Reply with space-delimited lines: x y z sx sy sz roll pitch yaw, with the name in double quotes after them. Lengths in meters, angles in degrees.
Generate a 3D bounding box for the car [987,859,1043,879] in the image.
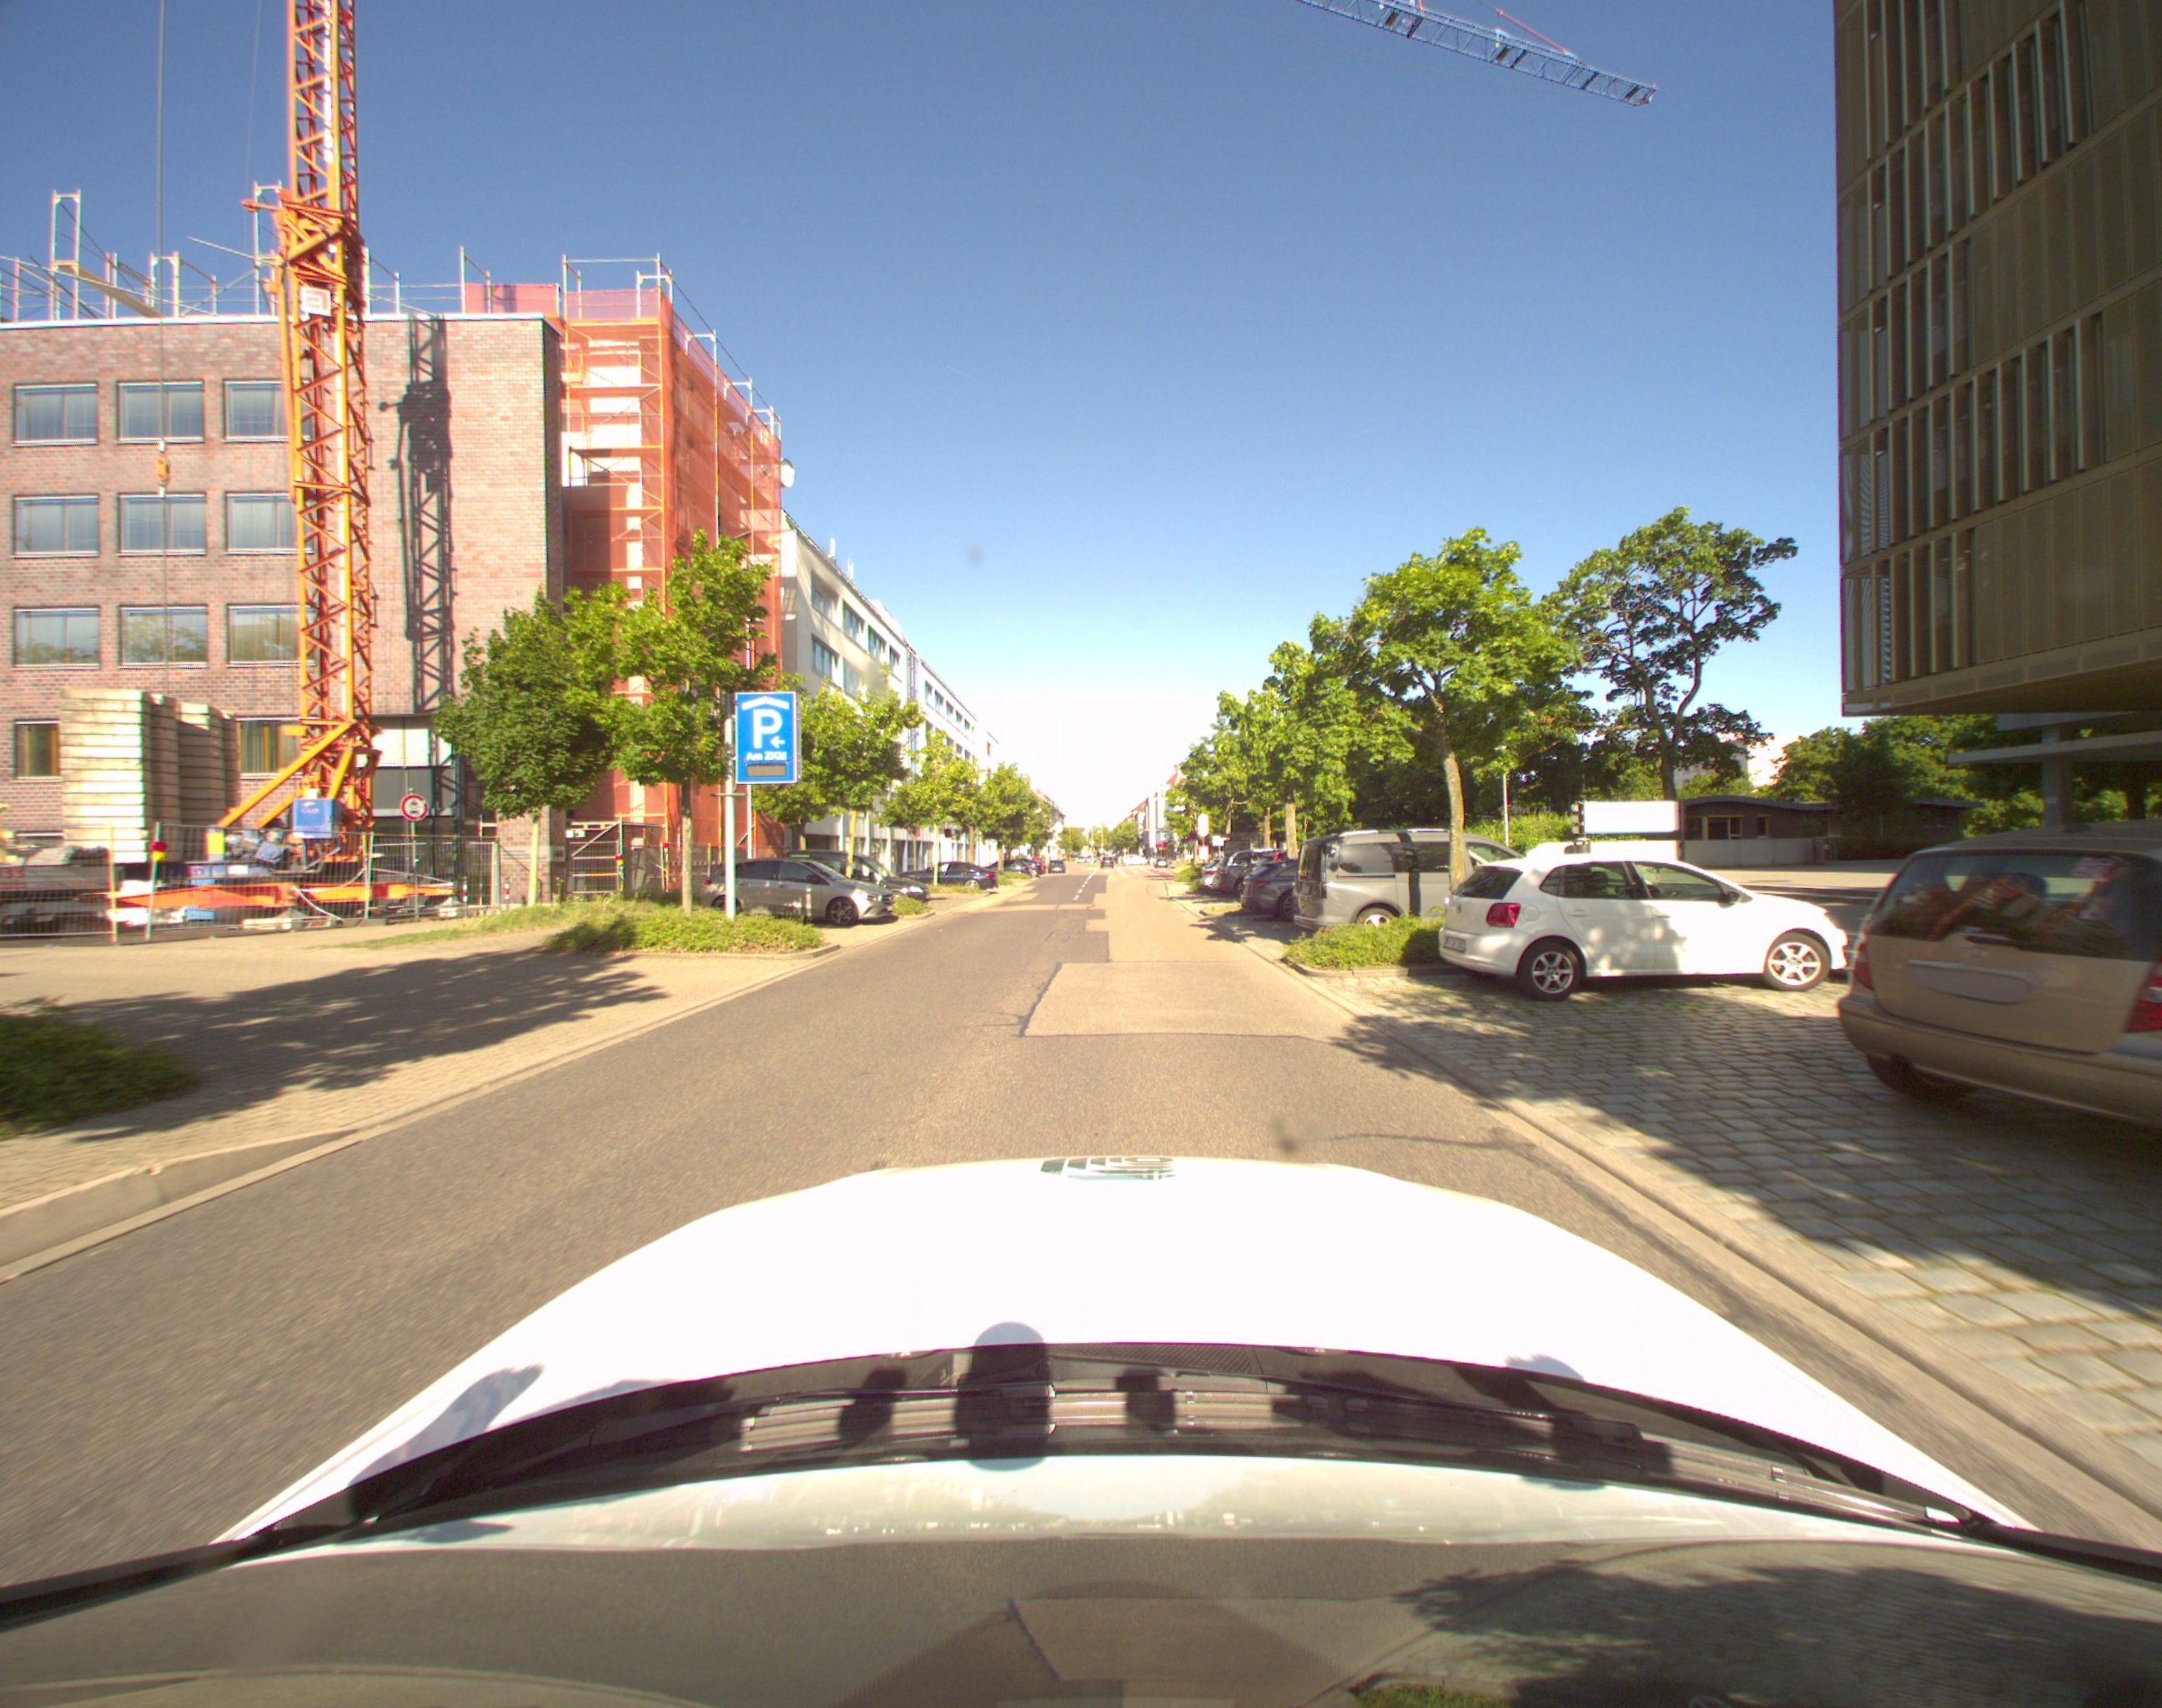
-5.347 1.219 66.057 4.316 1.474 1.818 -1 1 1 "car"

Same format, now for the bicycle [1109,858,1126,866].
5.661 1.300 126.662 2.668 1.112 0.912 -1 1 3 "bicycle"

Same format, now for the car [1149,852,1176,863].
13.147 0.576 131.234 3.978 1.561 1.998 -2 1 -3 "car"

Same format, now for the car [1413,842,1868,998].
5.901 0.660 8.970 3.752 1.459 1.818 -1 0 1 "car"

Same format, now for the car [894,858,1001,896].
-5.722 0.985 35.356 4.320 1.474 1.816 -1 1 -2 "car"

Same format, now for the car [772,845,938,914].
-6.594 0.724 24.059 4.313 1.861 1.819 -1 1 3 "car"

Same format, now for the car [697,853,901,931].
-6.641 0.867 19.462 4.247 1.665 1.599 -1 1 0 "car"

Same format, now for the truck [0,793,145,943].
-21.679 0.300 14.809 6.829 2.547 2.282 -1 1 3 "truck"

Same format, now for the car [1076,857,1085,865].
-0.094 1.460 183.134 1.862 1.642 3.931 -1 1 4 "car"

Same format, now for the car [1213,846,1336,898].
6.595 0.588 28.116 3.894 1.642 1.880 -1 1 5 "car"

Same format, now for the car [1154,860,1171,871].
11.724 1.632 117.325 1.983 1.474 4.110 -1 1 0 "car"

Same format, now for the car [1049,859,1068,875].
-2.385 1.354 86.656 1.805 1.474 4.111 -1 1 1 "car"

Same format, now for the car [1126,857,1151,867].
9.577 1.317 135.317 4.083 1.474 1.818 -1 1 0 "car"

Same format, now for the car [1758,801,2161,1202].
6.279 0.541 4.119 3.972 1.582 2.032 -1 0 2 "car"

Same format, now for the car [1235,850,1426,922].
5.604 0.711 18.695 3.894 1.474 1.798 -1 1 5 "car"

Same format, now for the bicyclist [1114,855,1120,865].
5.605 0.948 126.653 1.019 1.444 0.912 -1 1 3 "bicyclist"

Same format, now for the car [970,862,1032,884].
-5.793 1.368 59.319 4.316 1.474 1.818 -1 1 1 "car"

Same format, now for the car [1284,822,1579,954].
5.411 0.495 12.946 3.972 1.879 1.683 -1 1 2 "car"

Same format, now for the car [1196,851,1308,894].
6.325 0.702 30.425 3.894 1.475 1.760 -1 -2 5 "car"

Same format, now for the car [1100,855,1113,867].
3.586 0.990 113.331 1.804 1.474 4.113 -1 1 3 "car"
